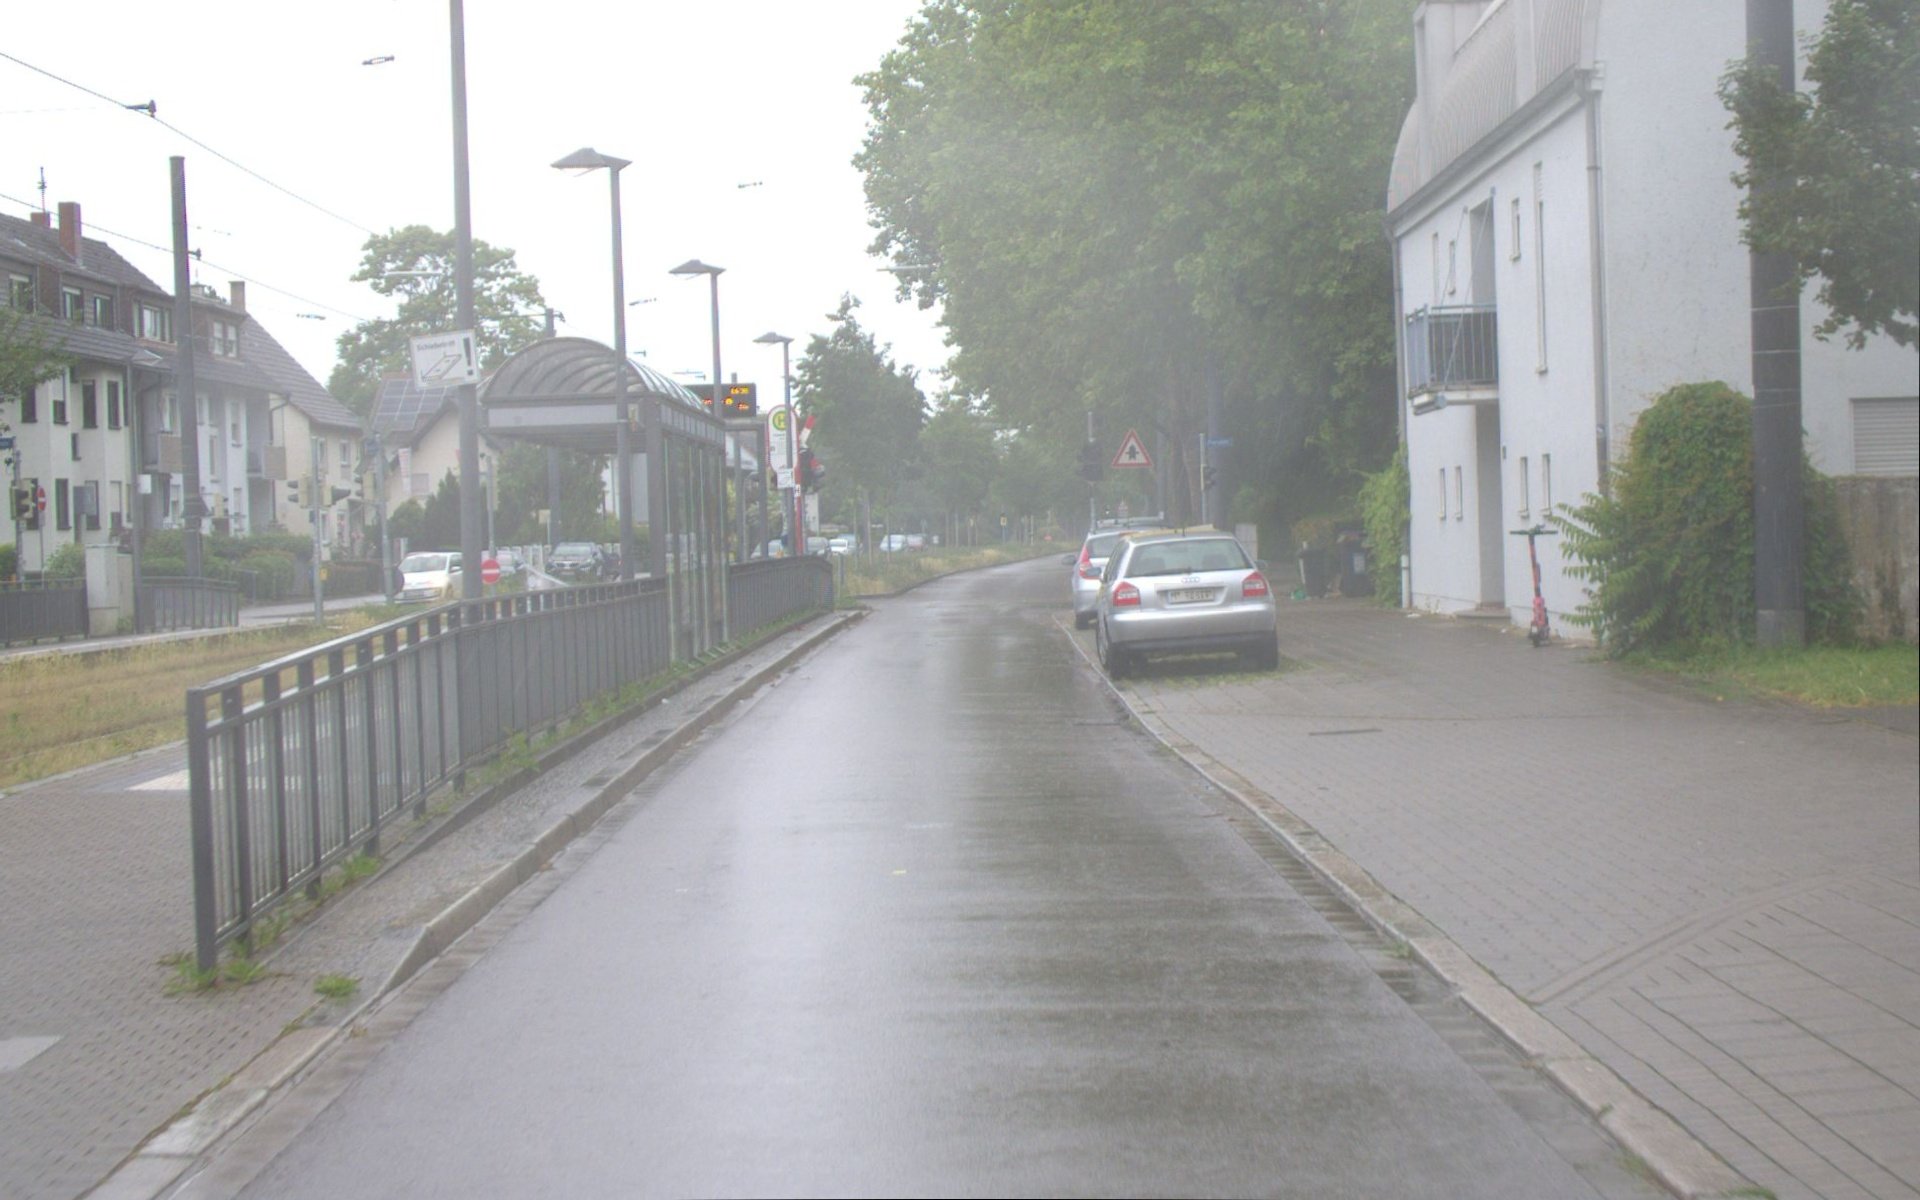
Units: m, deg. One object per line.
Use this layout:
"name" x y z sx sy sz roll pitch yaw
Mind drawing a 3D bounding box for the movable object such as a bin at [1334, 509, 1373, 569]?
"movable object such as a bin" 6.954 -1.083 60.799 0.536 1.018 0.739 -4 1 0

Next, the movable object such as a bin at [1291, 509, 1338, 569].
"movable object such as a bin" 6.336 -1.089 61.480 0.692 1.018 0.824 -4 1 0

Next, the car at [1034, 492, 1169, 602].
"car" 2.101 -0.799 51.841 1.807 1.462 3.794 -5 1 1

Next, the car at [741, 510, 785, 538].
"car" -10.863 -4.169 189.642 1.928 1.481 4.000 -1 1 4

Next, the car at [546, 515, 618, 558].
"car" -13.746 -2.305 125.060 1.928 1.481 4.000 -1 1 4

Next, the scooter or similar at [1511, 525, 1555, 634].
"scooter or similar" 5.823 -0.213 34.941 0.333 1.081 1.395 -1 1 6

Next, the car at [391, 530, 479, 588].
"car" -13.997 -1.094 91.782 1.633 1.488 4.000 -1 1 1

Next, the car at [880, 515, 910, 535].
"car" -4.780 -5.515 253.276 1.928 1.481 4.000 -1 1 4

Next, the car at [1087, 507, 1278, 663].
"car" 2.273 -0.182 36.136 1.650 1.400 4.649 -5 1 1

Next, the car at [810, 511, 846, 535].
"car" -8.541 -4.966 222.803 1.928 1.481 4.000 -1 1 4

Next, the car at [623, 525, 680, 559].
"car" -13.856 -2.599 154.458 1.928 1.481 4.000 -1 1 4
